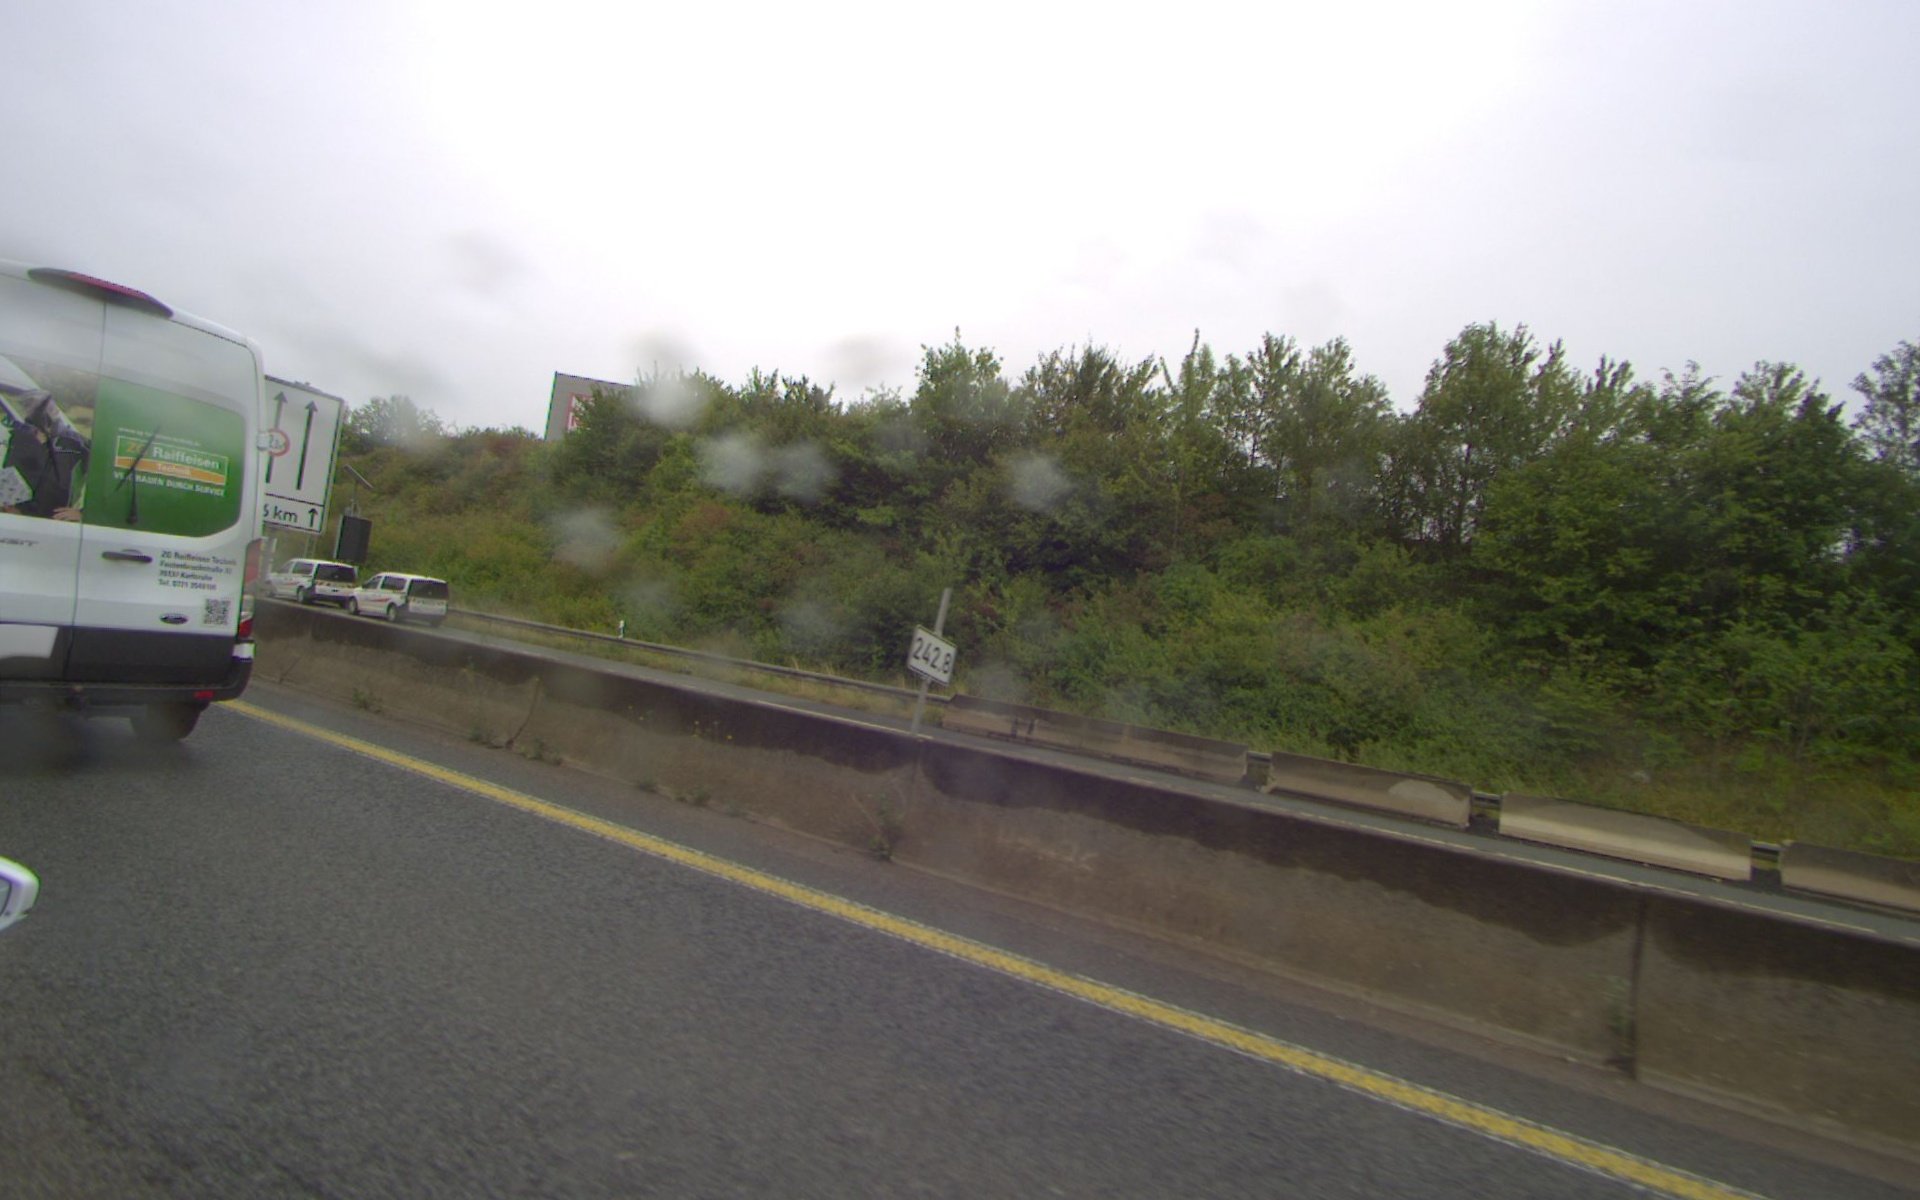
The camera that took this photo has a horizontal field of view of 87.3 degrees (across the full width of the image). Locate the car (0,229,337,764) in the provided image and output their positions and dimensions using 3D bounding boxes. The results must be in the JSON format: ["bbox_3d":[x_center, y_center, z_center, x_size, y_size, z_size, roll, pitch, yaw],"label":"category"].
[{"bbox_3d":[-7.200,-0.734,7.111,6.017,2.707,2.148,6,-2,33],"label":"car"}]

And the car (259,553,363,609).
[{"bbox_3d":[-26.589,-0.791,41.173,4.196,1.778,1.732,6,-2,31],"label":"car"}]

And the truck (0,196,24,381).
[{"bbox_3d":[-23.392,-4.037,18.370,20.044,5.739,3.986,6,-1,33],"label":"truck"}]

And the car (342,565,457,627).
[{"bbox_3d":[-21.073,-0.151,37.794,4.257,1.790,1.732,6,-2,31],"label":"car"}]
